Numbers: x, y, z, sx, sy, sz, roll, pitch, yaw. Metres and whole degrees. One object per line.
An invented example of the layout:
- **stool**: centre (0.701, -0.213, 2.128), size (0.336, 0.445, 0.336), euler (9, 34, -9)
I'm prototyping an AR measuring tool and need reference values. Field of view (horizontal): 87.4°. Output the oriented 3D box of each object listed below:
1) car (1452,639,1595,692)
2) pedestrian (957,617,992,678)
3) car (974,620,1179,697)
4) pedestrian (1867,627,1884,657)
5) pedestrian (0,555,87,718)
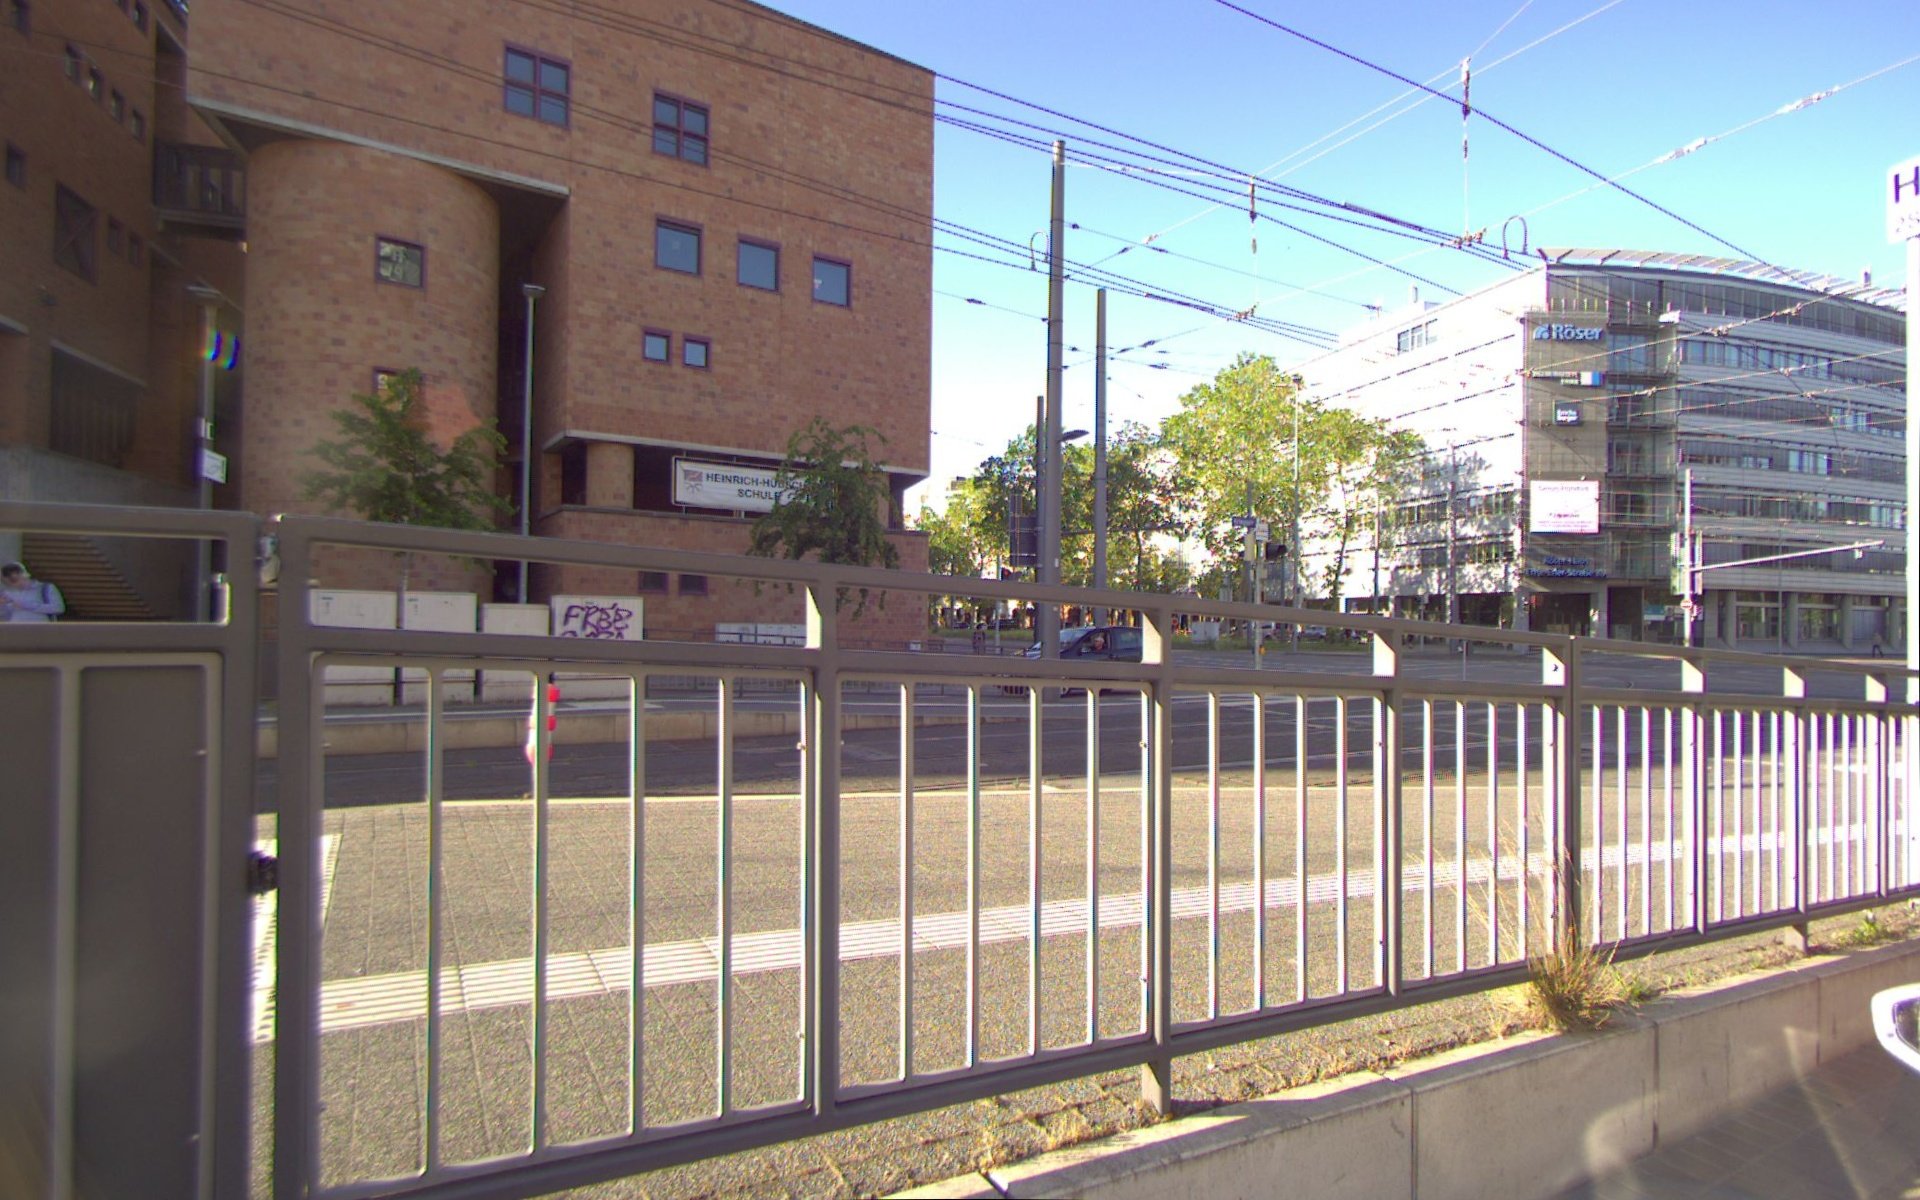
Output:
- **car**: centre (13.641, 1.556, 24.366), size (2.841, 1.077, 1.238), euler (2, 0, 40)
- **pedestrian**: centre (0.422, 1.374, 29.014), size (0.785, 1.714, 0.587), euler (2, 0, -29)
- **car**: centre (2.541, 1.227, 21.513), size (4.198, 1.449, 1.813), euler (2, 0, -34)
- **pedestrian**: centre (63.096, 2.892, 69.257), size (0.745, 2.040, 0.627), euler (2, 0, -30)
- **pedestrian**: centre (-9.696, 0.373, 10.550), size (0.679, 1.656, 0.662), euler (2, 0, -34)
